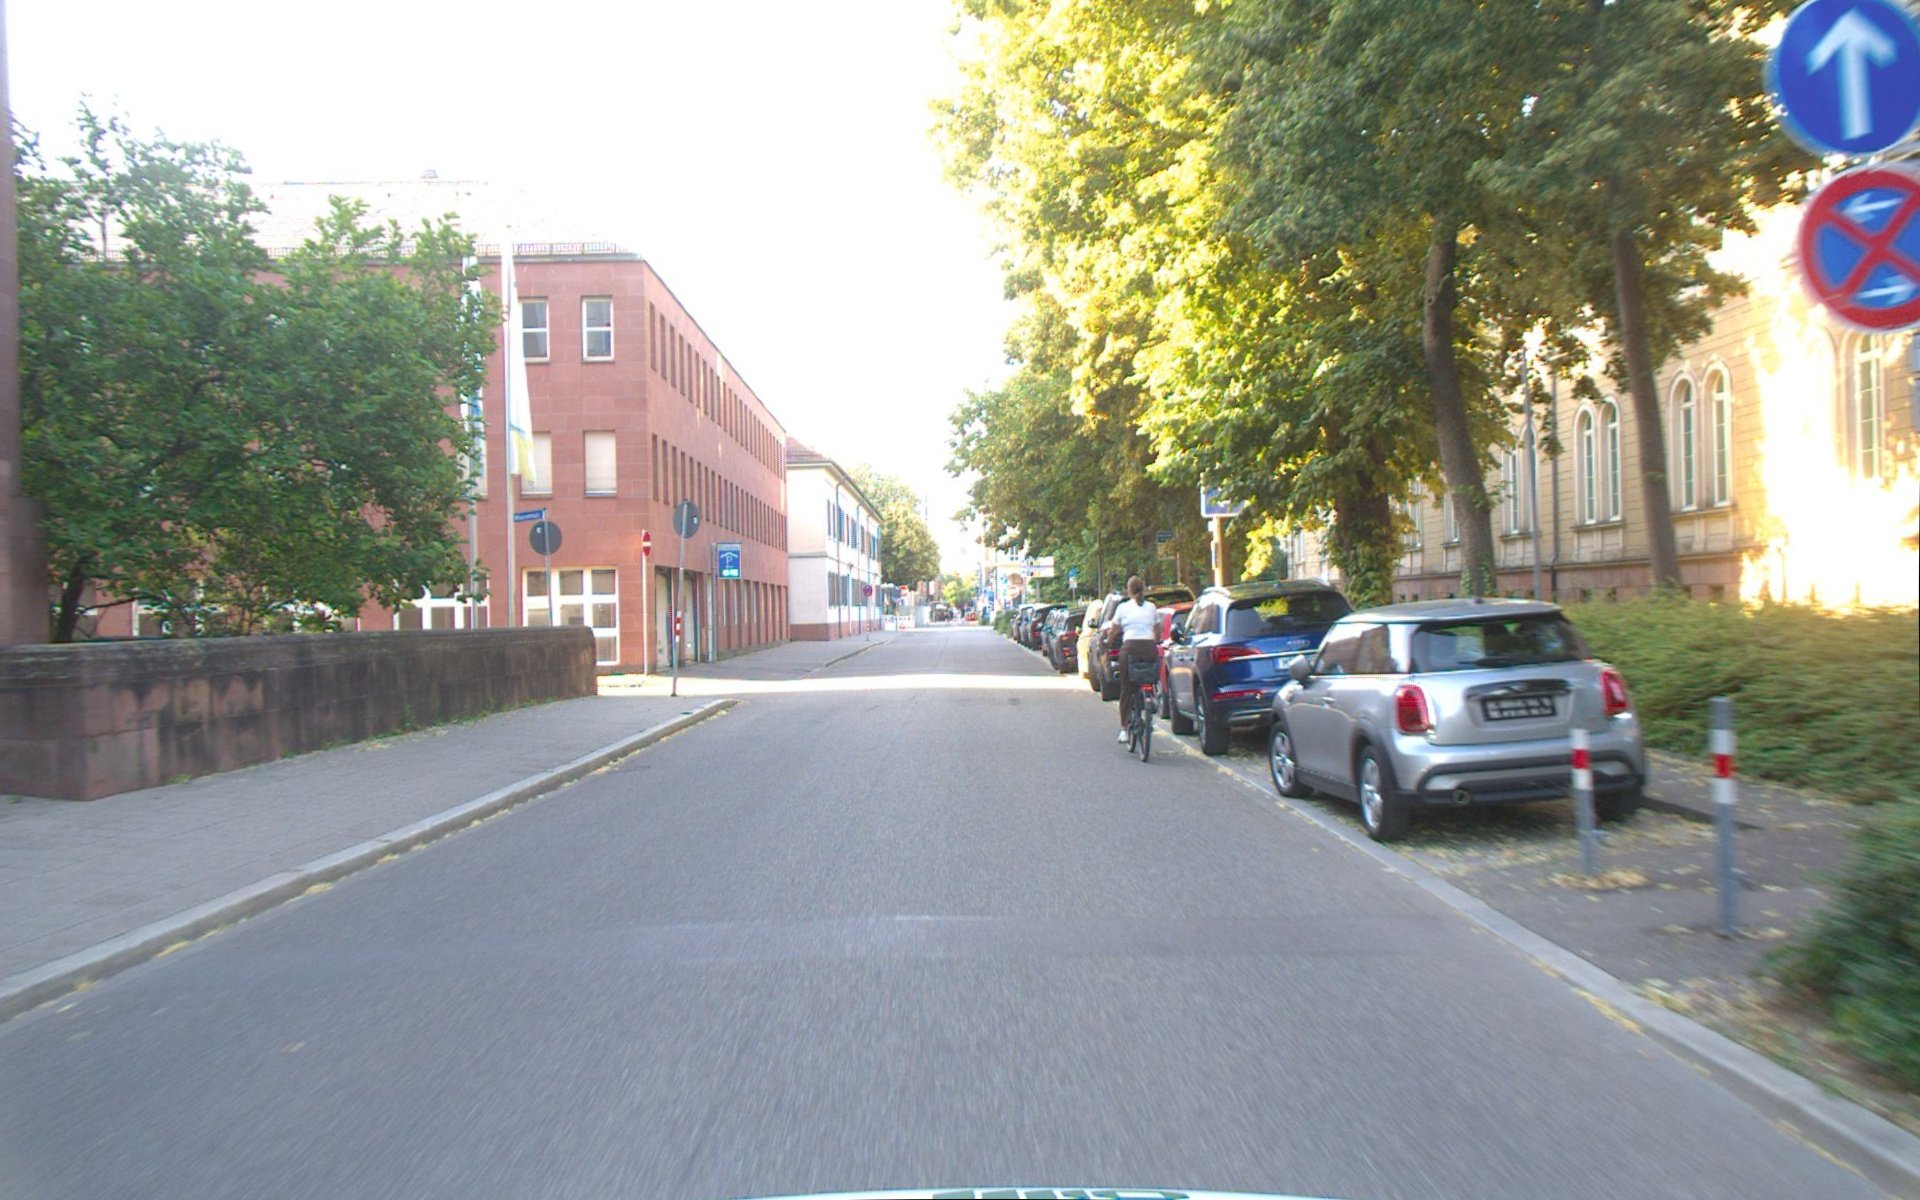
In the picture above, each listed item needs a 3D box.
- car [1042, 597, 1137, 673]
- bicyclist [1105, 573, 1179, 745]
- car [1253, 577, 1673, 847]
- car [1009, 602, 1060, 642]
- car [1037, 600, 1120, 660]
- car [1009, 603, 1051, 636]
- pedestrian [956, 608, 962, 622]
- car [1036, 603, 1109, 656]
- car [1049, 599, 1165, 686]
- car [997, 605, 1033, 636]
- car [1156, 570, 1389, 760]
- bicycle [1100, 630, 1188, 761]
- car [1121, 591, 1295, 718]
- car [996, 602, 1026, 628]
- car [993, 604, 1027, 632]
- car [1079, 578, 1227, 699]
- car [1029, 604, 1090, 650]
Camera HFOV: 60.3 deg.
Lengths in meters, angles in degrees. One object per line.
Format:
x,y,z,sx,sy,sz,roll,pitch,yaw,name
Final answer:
3.162,0.841,41.177,1.953,1.735,3.999,-2,0,-1,car
1.830,0.580,16.717,0.626,1.696,0.842,0,0,-2,bicyclist
3.292,0.693,11.584,1.651,1.472,3.670,-4,-1,-2,car
3.288,0.952,73.618,1.953,1.657,3.999,-2,0,-1,car
3.305,0.814,46.685,1.953,1.557,3.999,-2,0,-1,car
3.721,1.004,88.213,1.953,1.657,3.999,-2,0,-1,car
-0.106,1.610,179.794,0.523,1.497,0.448,-2,0,-2,pedestrian
3.520,0.912,52.383,1.953,1.557,3.999,-2,0,-1,car
3.008,0.843,34.586,1.953,1.624,3.999,-2,0,-1,car
3.288,1.220,99.290,1.953,1.779,3.999,-2,0,-1,car
3.233,0.628,17.960,1.680,1.742,4.473,-2,0,1,car
1.833,0.929,16.689,0.625,1.214,1.875,0,0,-2,bicycle
3.385,0.712,23.250,1.681,1.564,4.047,-2,0,-2,car
4.606,1.314,149.596,2.442,2.234,4.909,-2,0,-1,car
3.665,1.292,121.496,2.235,1.886,4.909,-2,0,-1,car
3.222,0.623,28.394,1.953,1.847,3.999,-2,0,-1,car
3.745,0.989,62.929,1.953,1.612,3.999,-2,0,-1,car
